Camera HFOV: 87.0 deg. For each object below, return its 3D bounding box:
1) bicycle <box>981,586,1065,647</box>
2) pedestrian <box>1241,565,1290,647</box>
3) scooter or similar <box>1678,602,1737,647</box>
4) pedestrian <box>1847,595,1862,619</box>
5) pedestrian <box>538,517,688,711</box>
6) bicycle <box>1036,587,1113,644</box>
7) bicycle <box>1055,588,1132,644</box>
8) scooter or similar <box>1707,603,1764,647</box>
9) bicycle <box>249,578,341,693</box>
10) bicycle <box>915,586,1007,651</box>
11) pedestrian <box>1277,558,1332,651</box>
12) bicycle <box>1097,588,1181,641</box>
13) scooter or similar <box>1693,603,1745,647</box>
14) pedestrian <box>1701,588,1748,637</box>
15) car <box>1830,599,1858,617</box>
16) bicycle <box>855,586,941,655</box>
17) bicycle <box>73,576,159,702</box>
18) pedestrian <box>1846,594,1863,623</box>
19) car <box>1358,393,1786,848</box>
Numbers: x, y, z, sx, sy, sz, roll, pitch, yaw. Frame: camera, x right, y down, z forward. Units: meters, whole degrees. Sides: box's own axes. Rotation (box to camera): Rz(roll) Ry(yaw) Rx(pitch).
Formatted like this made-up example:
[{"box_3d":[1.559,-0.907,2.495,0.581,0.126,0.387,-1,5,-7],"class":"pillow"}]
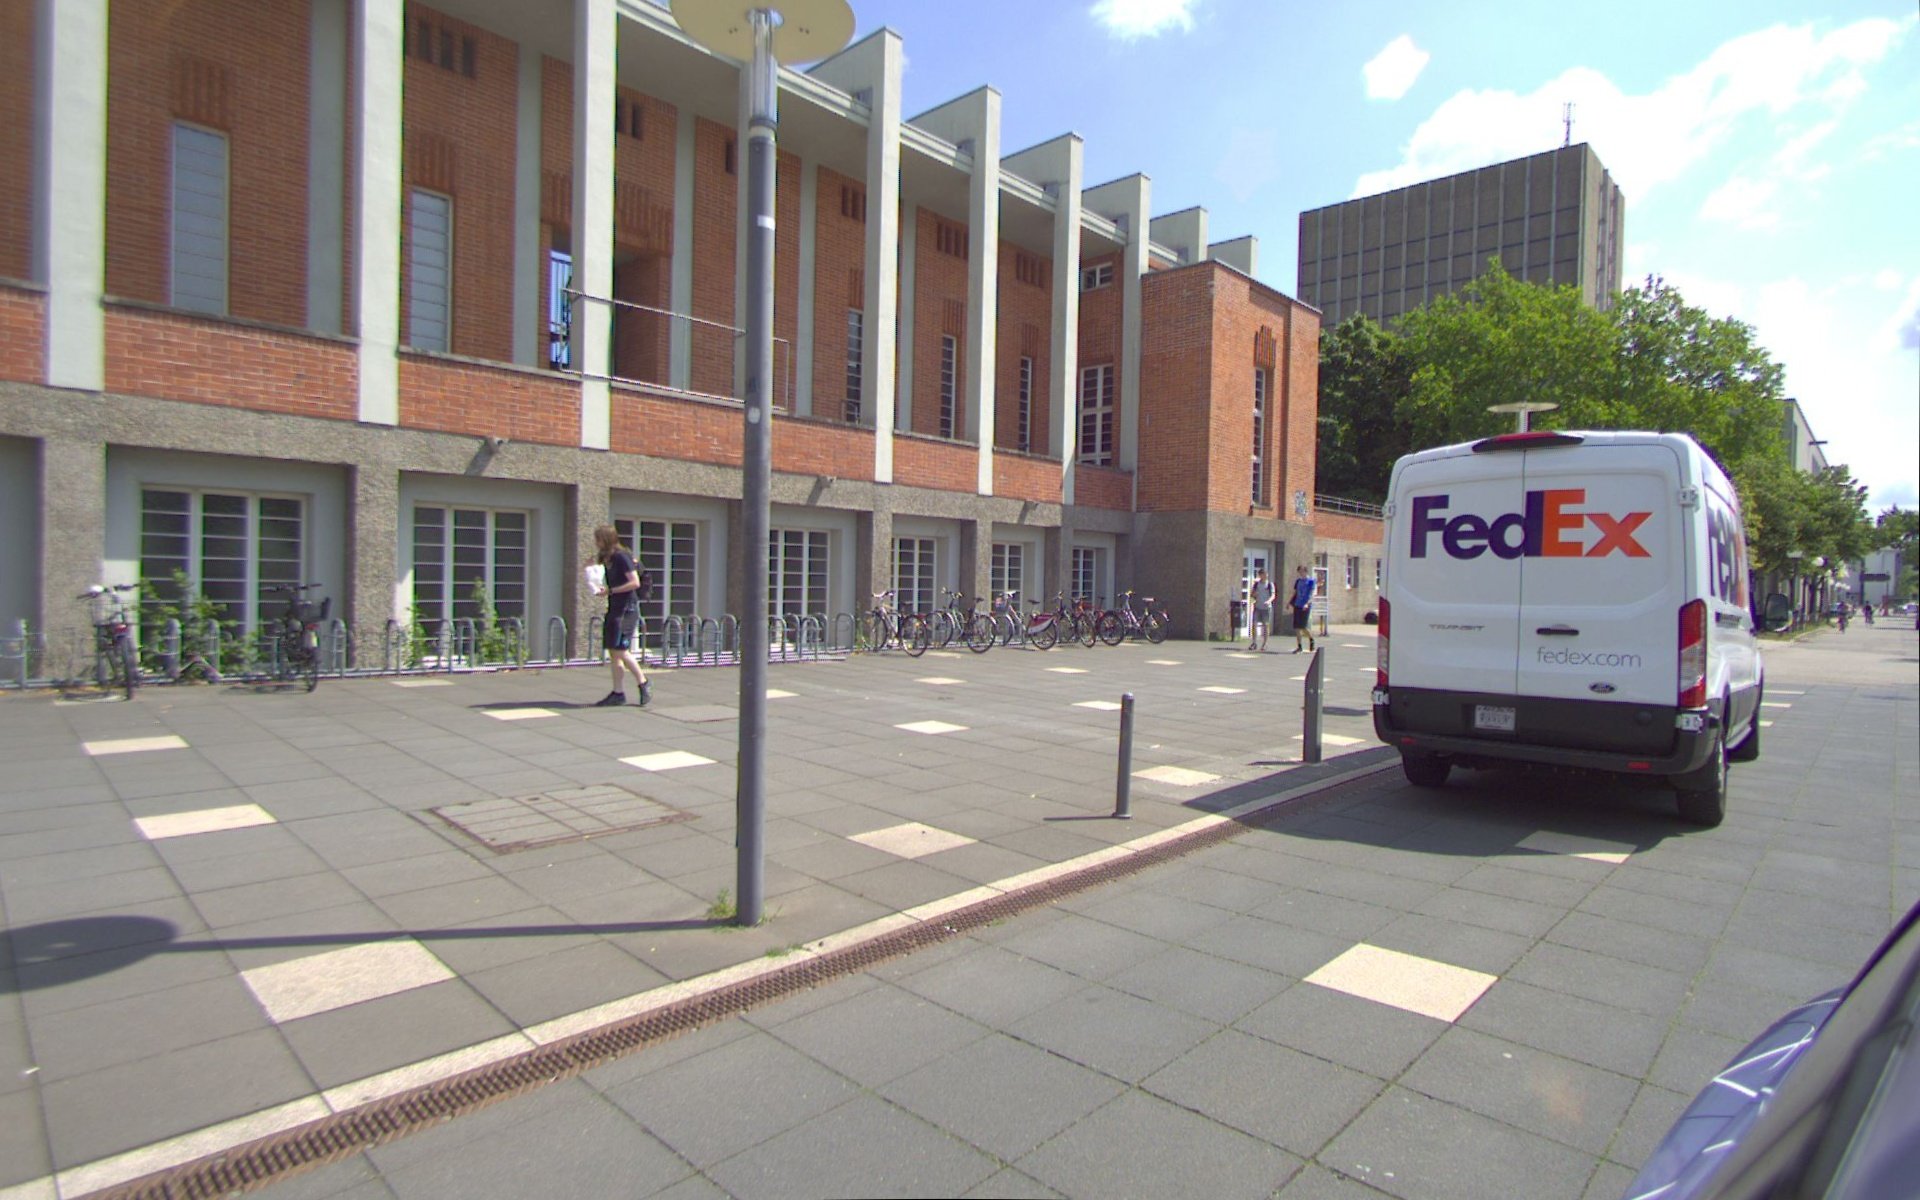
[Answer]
[{"box_3d":[1.231,0.307,20.168,1.796,1.124,0.429,3,1,43],"class":"bicycle"},{"box_3d":[6.685,0.112,22.141,0.986,1.728,0.585,0,2,-44],"class":"pedestrian"},{"box_3d":[22.336,0.718,30.261,0.564,1.245,1.359,2,1,-12],"class":"scooter or similar"},{"box_3d":[67.297,0.521,76.109,0.575,1.702,0.537,2,1,6],"class":"pedestrian"},{"box_3d":[-3.552,0.120,10.403,0.842,1.857,1.181,2,1,38],"class":"pedestrian"},{"box_3d":[2.393,0.314,21.272,1.650,1.124,0.429,2,1,43],"class":"bicycle"},{"box_3d":[2.852,0.327,21.781,1.694,1.124,0.429,2,1,43],"class":"bicycle"},{"box_3d":[23.710,0.759,30.969,0.564,1.248,1.267,2,1,-12],"class":"scooter or similar"},{"box_3d":[-7.224,0.349,10.961,1.682,1.124,0.429,2,1,43],"class":"bicycle"},{"box_3d":[-0.008,0.320,18.884,1.911,1.124,0.429,3,1,43],"class":"bicycle"},{"box_3d":[7.332,0.085,21.542,0.664,1.913,1.093,3,2,43],"class":"pedestrian"},{"box_3d":[4.065,0.314,23.083,1.929,1.124,0.449,3,1,43],"class":"bicycle"},{"box_3d":[23.028,0.746,30.731,0.564,1.259,1.146,2,1,-12],"class":"scooter or similar"},{"box_3d":[29.378,0.456,38.900,0.966,1.809,1.093,2,1,8],"class":"pedestrian"},{"box_3d":[86.931,0.790,99.563,1.992,1.678,3.940,2,2,42],"class":"car"},{"box_3d":[-1.097,0.332,17.643,1.682,1.124,0.429,2,1,43],"class":"bicycle"},{"box_3d":[-8.384,0.346,10.030,1.747,1.124,0.429,2,1,43],"class":"bicycle"},{"box_3d":[46.080,0.450,52.149,0.628,1.460,0.584,1,1,-45],"class":"pedestrian"},{"box_3d":[5.494,0.083,8.573,2.058,2.575,5.761,2,1,41],"class":"car"}]
